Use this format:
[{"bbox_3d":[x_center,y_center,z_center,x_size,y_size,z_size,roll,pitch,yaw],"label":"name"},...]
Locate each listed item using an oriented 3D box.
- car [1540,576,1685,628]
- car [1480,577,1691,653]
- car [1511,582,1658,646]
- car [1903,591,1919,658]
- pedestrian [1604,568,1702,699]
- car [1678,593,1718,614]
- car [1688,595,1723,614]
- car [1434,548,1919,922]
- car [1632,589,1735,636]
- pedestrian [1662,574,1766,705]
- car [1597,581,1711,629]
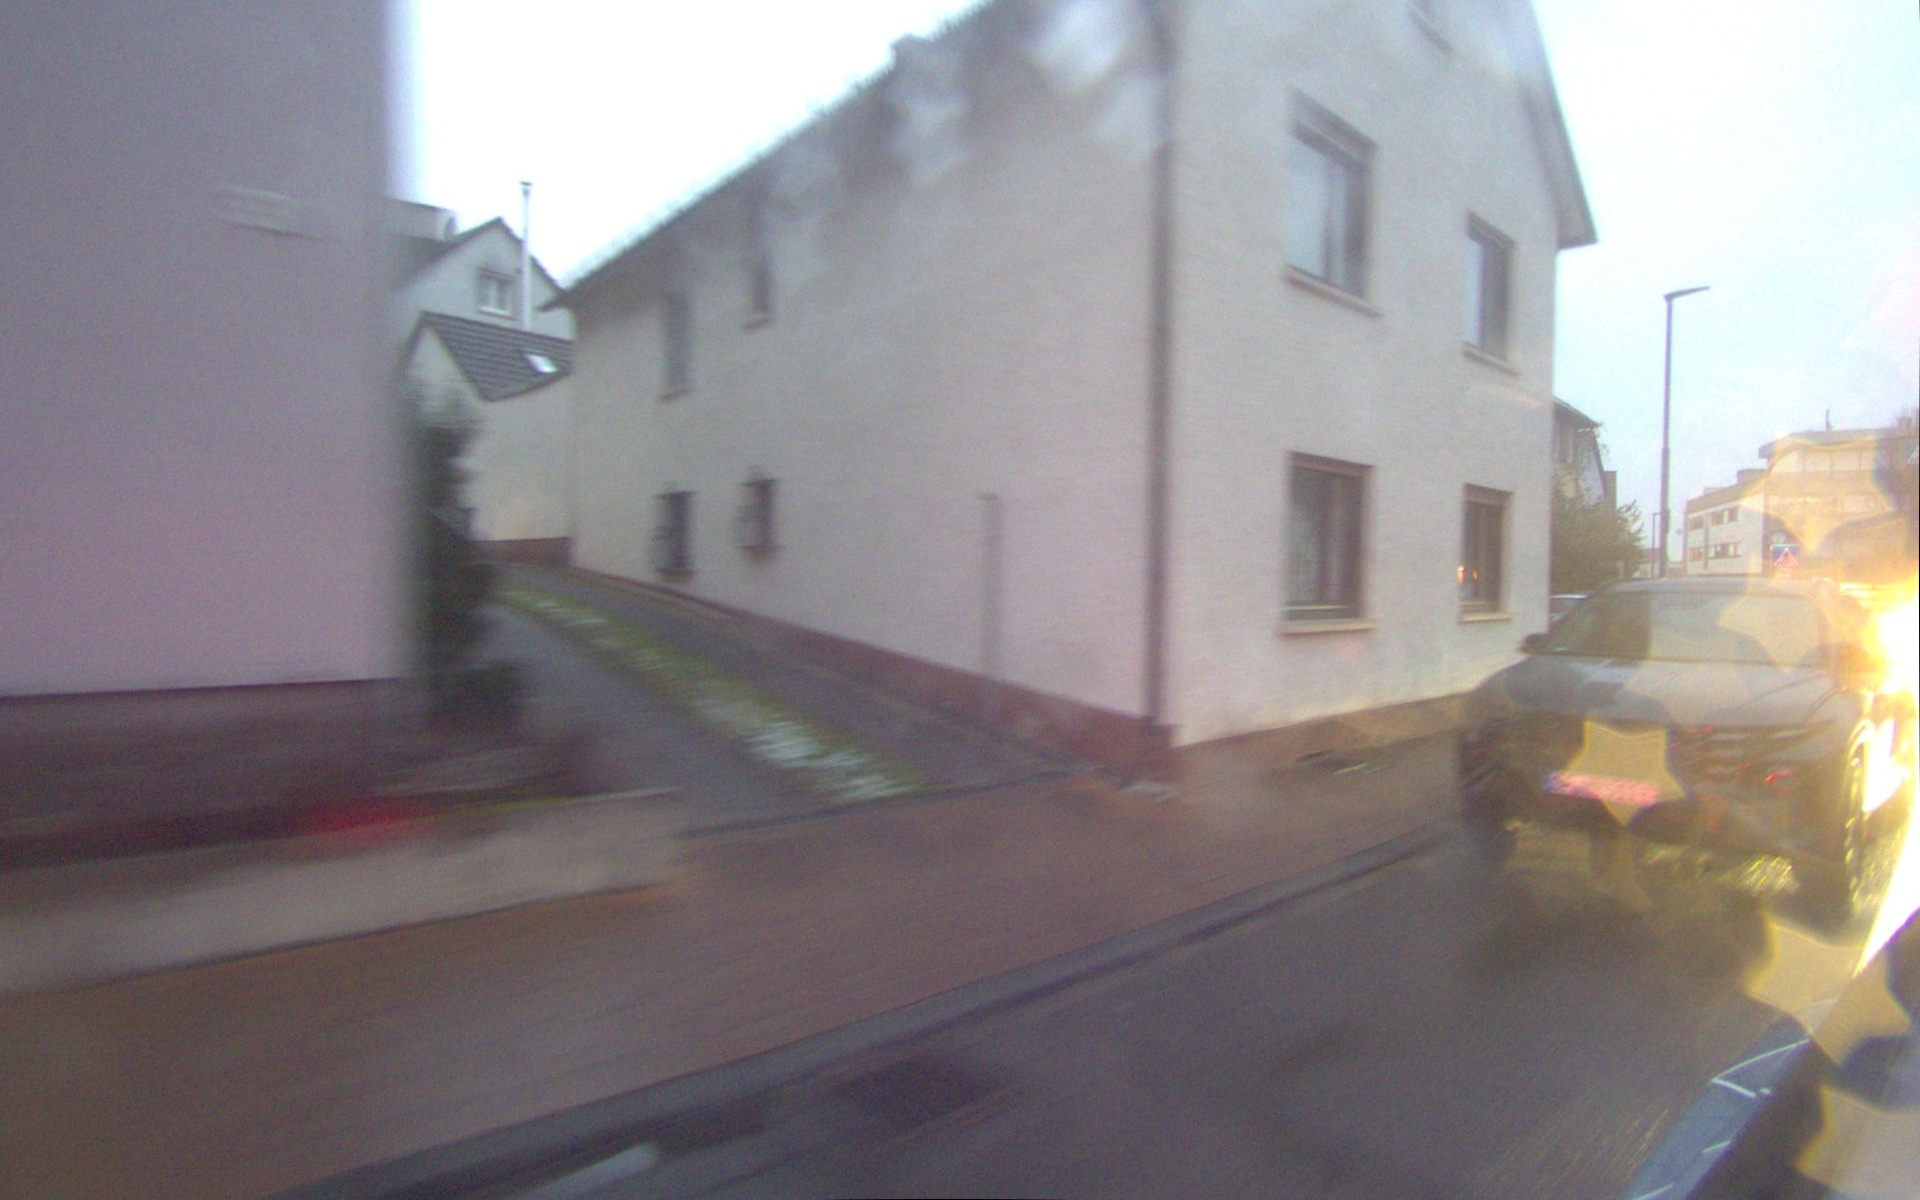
[{"bbox_3d":[27.869,0.055,43.328,4.977,1.912,1.908,4,2,41],"label":"car"},{"bbox_3d":[14.513,0.286,23.616,3.901,1.492,1.723,4,2,44],"label":"car"},{"bbox_3d":[16.594,0.331,26.964,3.065,1.492,1.525,4,2,44],"label":"car"},{"bbox_3d":[25.102,0.589,25.366,1.916,1.638,3.812,0,0,40],"label":"car"},{"bbox_3d":[9.895,0.449,14.450,0.955,1.754,0.850,1,3,-42],"label":"pedestrian"},{"bbox_3d":[53.072,0.233,72.841,1.886,1.485,3.958,0,0,30],"label":"car"},{"bbox_3d":[64.782,0.374,87.983,1.884,1.637,3.789,0,0,28],"label":"car"},{"bbox_3d":[4.951,0.583,6.601,4.261,1.658,1.850,0,0,-42],"label":"car"},{"bbox_3d":[25.184,0.404,35.270,2.761,1.492,1.406,3,2,41],"label":"car"},{"bbox_3d":[10.375,0.517,13.929,0.975,1.687,0.869,1,3,-42],"label":"pedestrian"},{"bbox_3d":[30.556,0.191,44.636,4.032,1.866,1.840,4,3,36],"label":"car"}]
